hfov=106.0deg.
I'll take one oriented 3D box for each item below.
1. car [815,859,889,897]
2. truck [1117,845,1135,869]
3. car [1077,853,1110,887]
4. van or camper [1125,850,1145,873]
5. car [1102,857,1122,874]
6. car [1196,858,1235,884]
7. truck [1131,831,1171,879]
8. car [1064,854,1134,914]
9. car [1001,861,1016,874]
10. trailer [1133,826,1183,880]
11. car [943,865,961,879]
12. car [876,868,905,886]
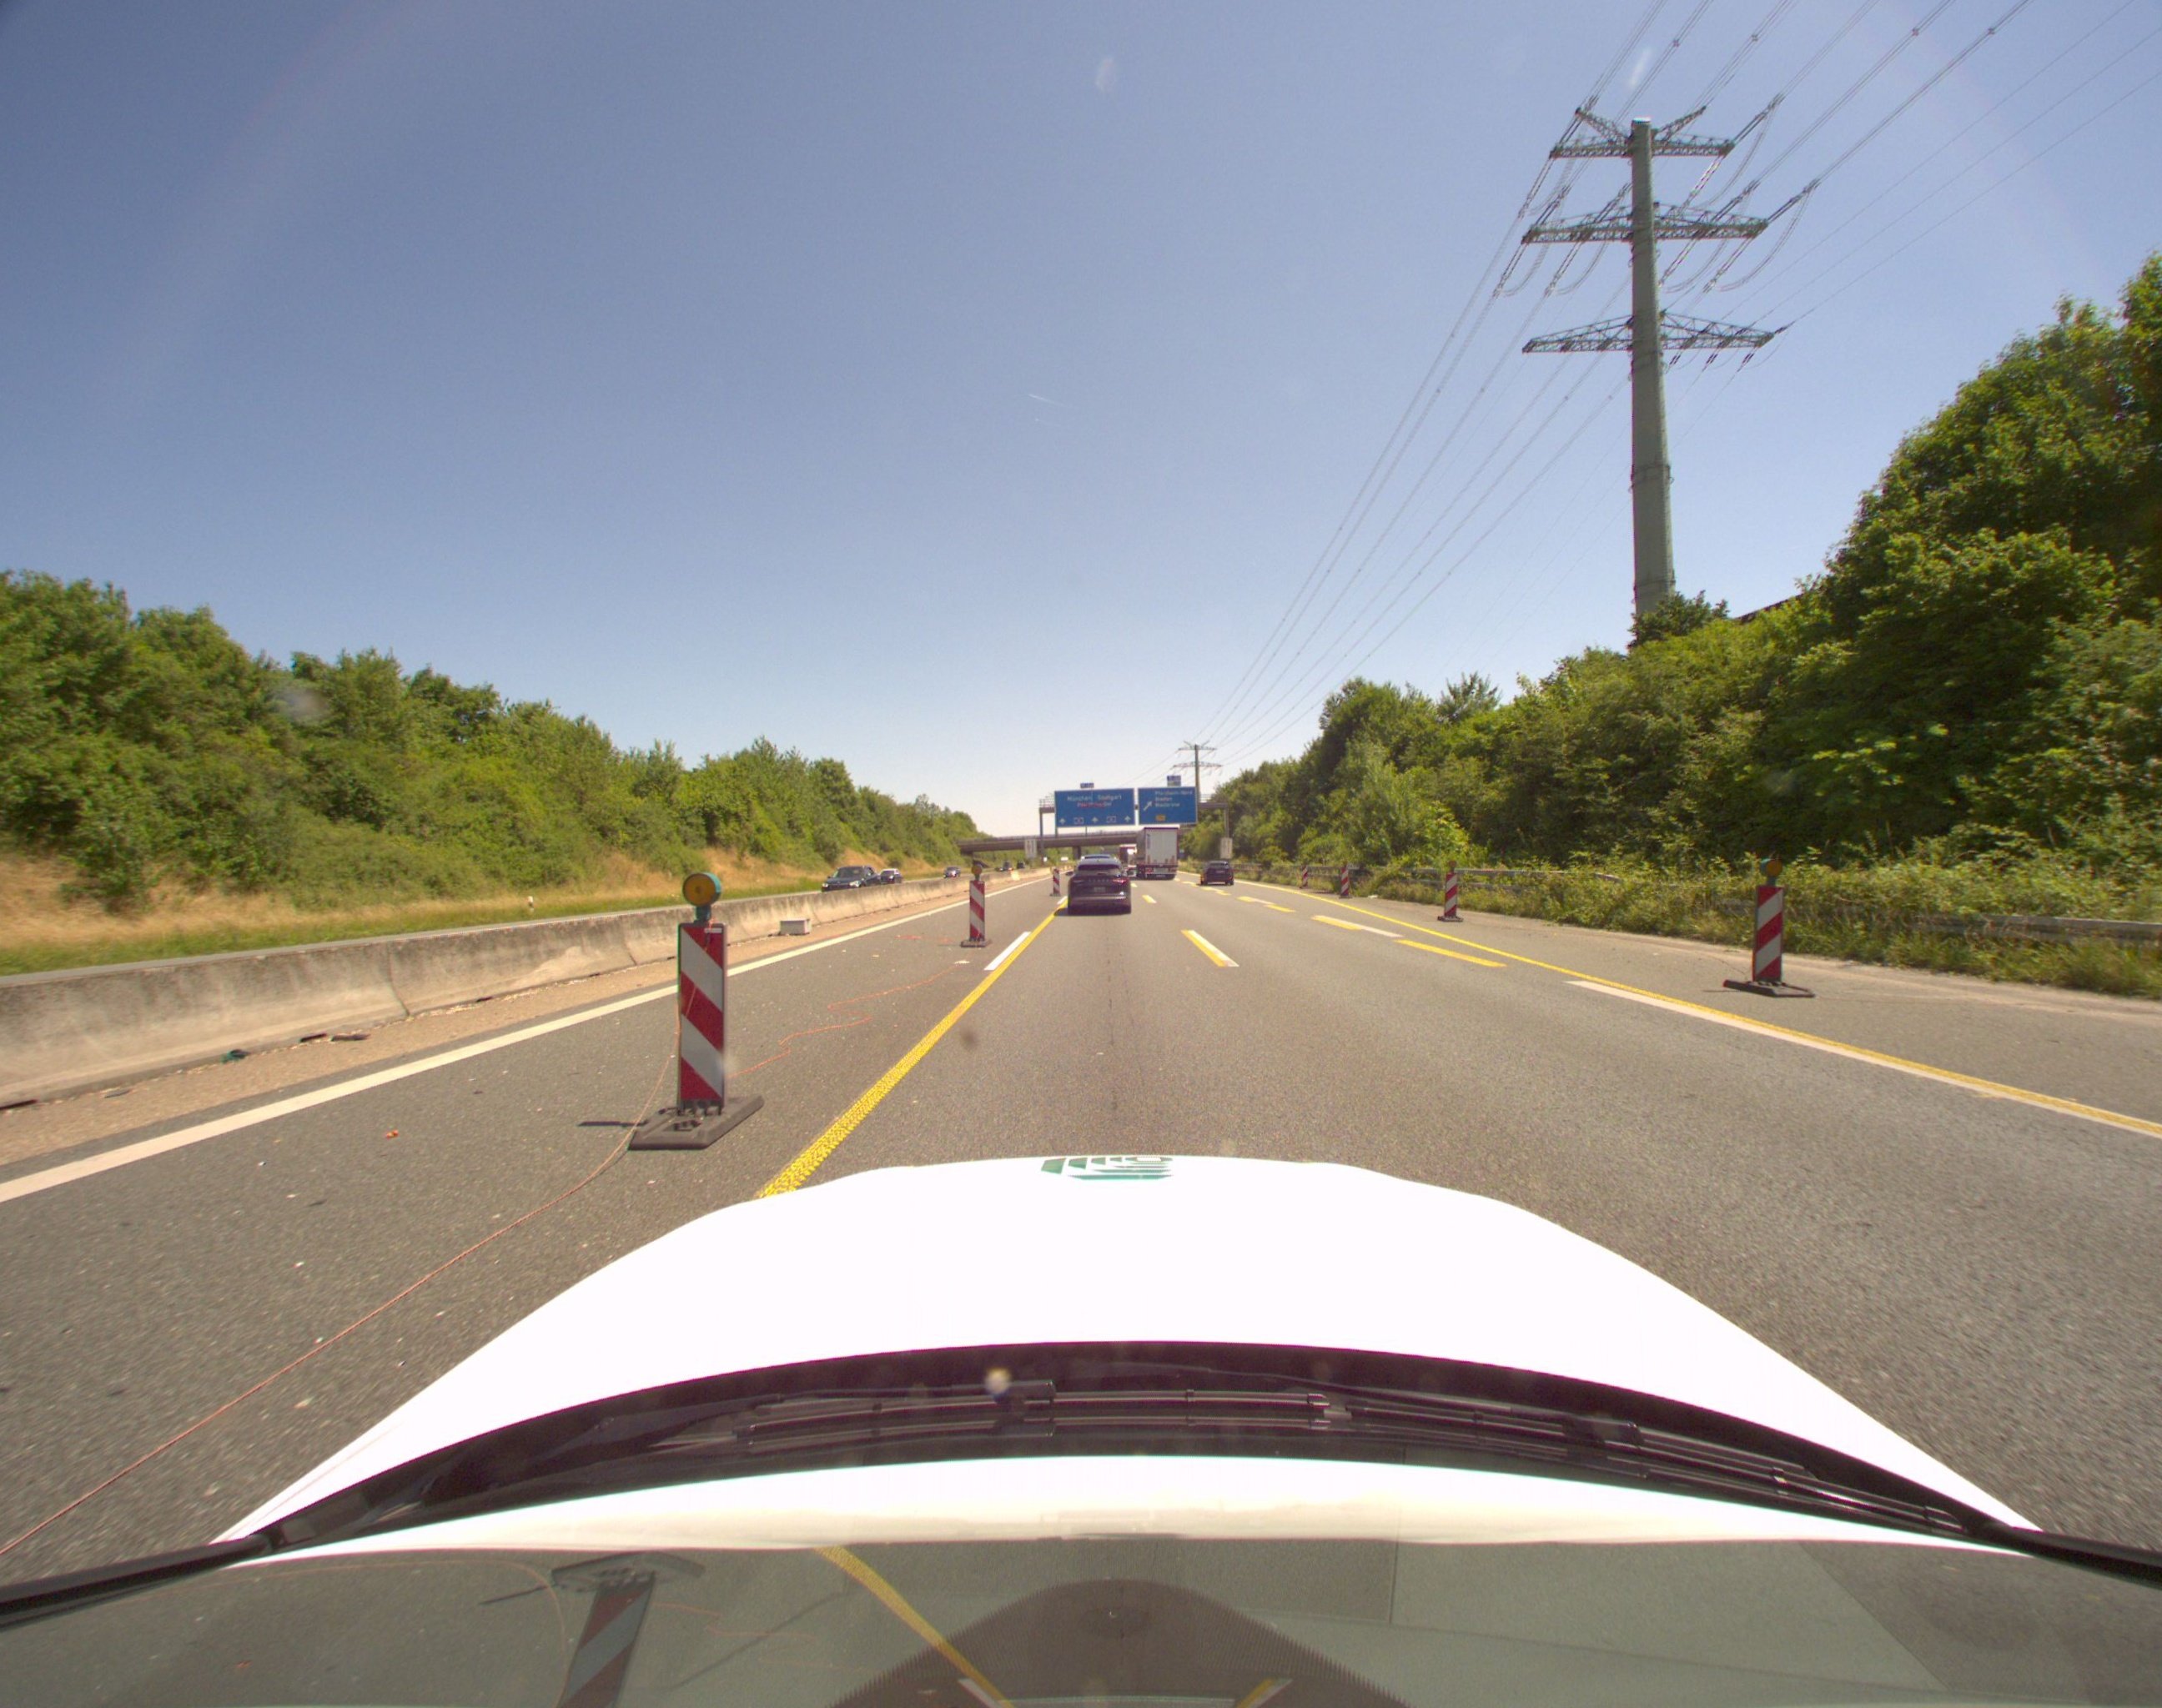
[{"bbox_3d":[-10.535,1.049,37.844,1.986,1.600,4.584,-2,-1,2],"label":"car"},{"bbox_3d":[8.181,0.647,147.772,3.065,4.147,13.063,0,-1,3],"label":"truck"},{"bbox_3d":[0.758,0.905,48.609,1.889,1.841,4.443,1,1,1],"label":"car"},{"bbox_3d":[7.364,0.983,111.649,2.576,2.968,6.089,-2,0,3],"label":"van or camper"},{"bbox_3d":[3.034,1.085,81.676,1.889,1.509,4.444,1,1,1],"label":"car"},{"bbox_3d":[8.146,1.011,49.638,1.772,1.489,4.465,0,-1,1],"label":"car"},{"bbox_3d":[6.257,0.078,74.040,3.014,4.087,7.795,-1,0,0],"label":"truck"},{"bbox_3d":[0.524,0.842,24.692,1.889,1.592,4.443,-2,0,1],"label":"car"},{"bbox_3d":[-10.593,1.920,119.495,1.736,1.818,4.621,-2,-1,0],"label":"car"},{"bbox_3d":[6.168,-0.056,67.010,3.055,4.042,11.486,-1,0,0],"label":"trailer"},{"bbox_3d":[-16.111,2.243,101.831,1.493,1.548,4.002,-2,-1,2],"label":"car"},{"bbox_3d":[-16.980,2.005,72.809,1.568,1.464,3.780,-2,-1,2],"label":"car"}]
